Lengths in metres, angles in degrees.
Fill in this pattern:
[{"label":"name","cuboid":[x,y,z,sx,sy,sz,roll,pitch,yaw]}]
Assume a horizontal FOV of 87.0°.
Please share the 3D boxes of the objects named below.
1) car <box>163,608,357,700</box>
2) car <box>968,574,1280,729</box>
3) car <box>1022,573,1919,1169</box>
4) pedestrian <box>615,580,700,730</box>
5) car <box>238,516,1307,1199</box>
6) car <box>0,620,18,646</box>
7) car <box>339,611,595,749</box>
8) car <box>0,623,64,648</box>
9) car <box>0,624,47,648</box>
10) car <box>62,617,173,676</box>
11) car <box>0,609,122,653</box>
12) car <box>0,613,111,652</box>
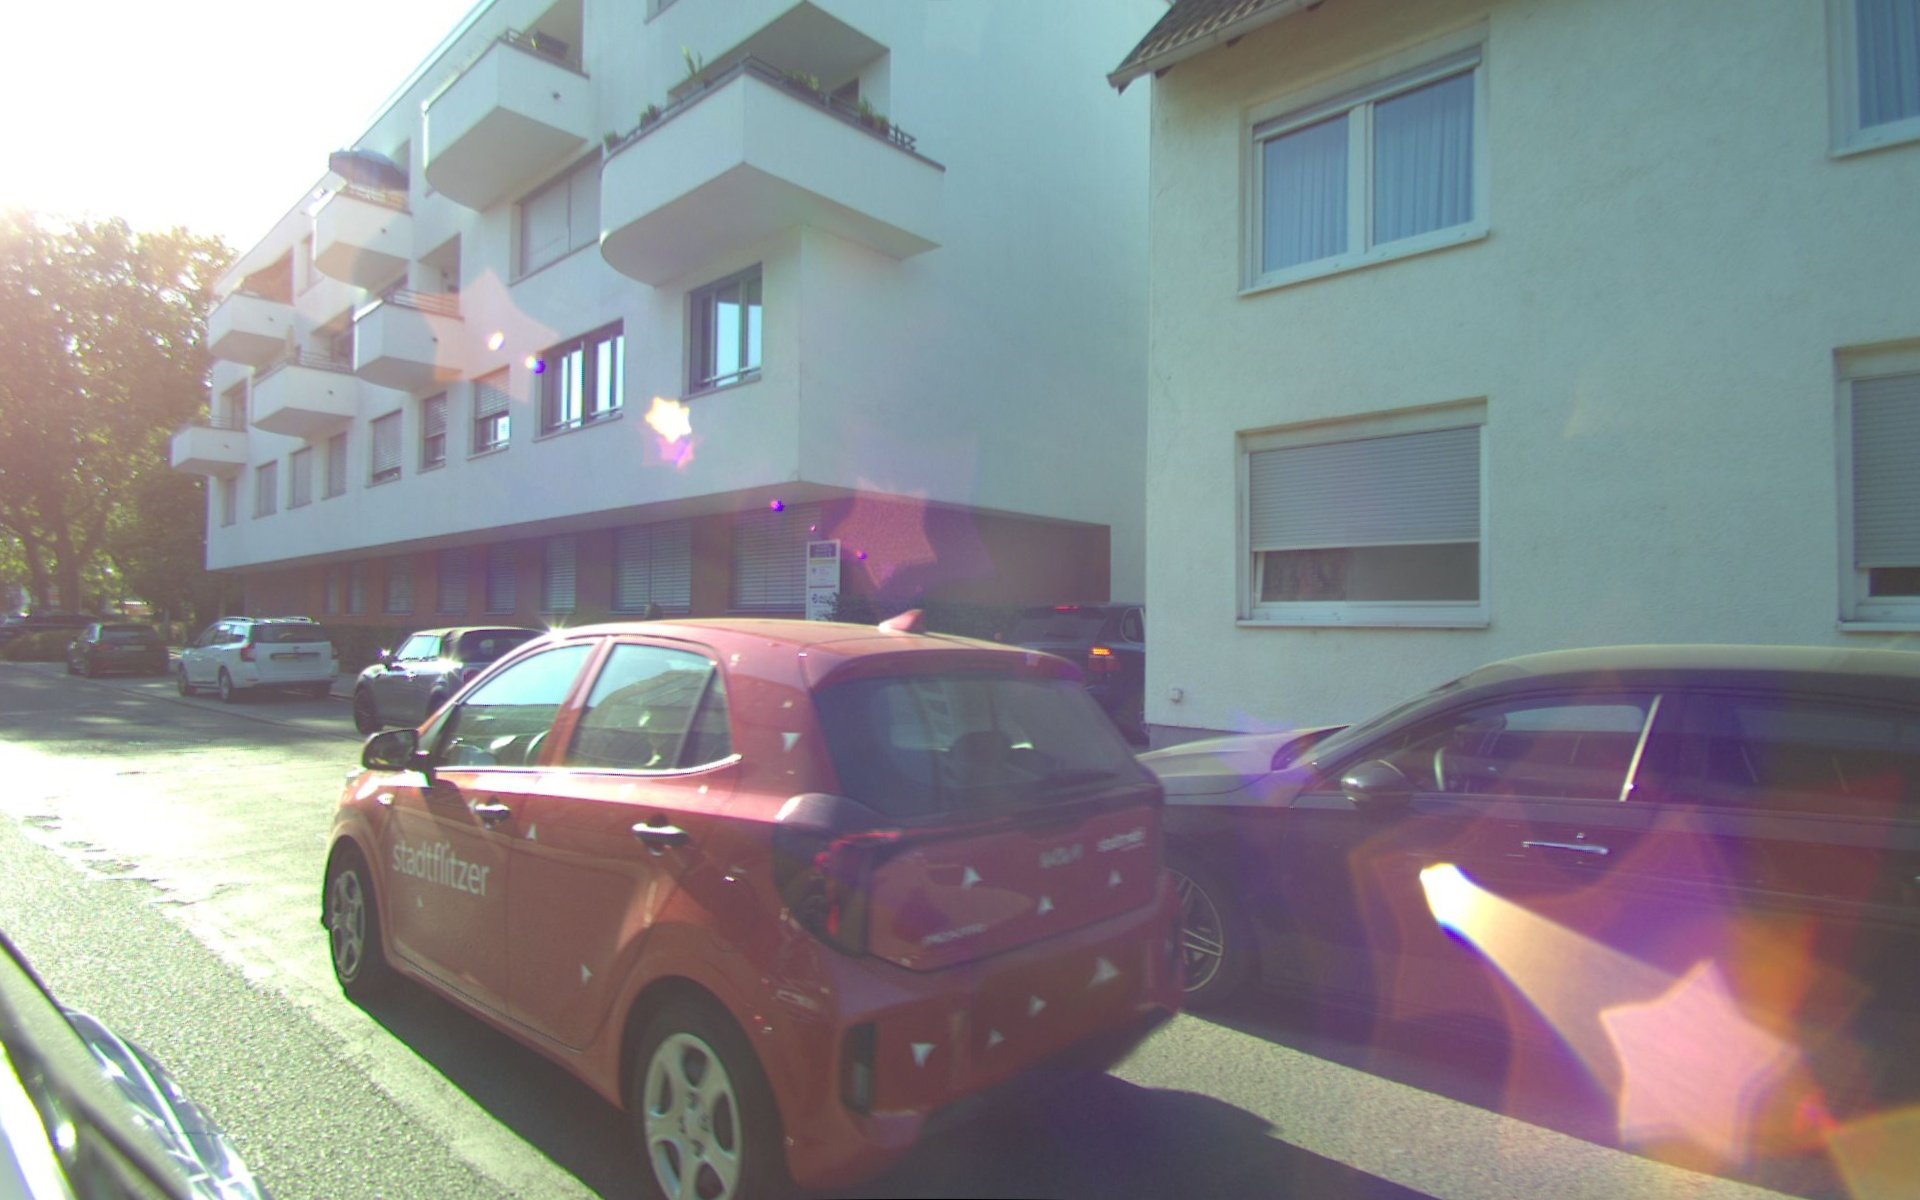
[{"label":"car","cuboid":[-13.665,0.959,19.663,4.615,1.599,1.840,-1,-1,38]},{"label":"car","cuboid":[2.321,0.706,13.245,2.012,1.651,4.559,-2,-5,40]},{"label":"car","cuboid":[2.479,0.714,3.708,4.328,1.547,1.668,-1,-1,38]},{"label":"pedestrian","cuboid":[-3.947,0.681,13.162,0.849,1.832,1.136,-2,0,-25]},{"label":"car","cuboid":[-1.043,0.682,3.896,4.141,1.502,1.823,-1,-4,41]},{"label":"car","cuboid":[-69.358,2.325,71.374,1.700,1.901,3.982,0,-1,14]},{"label":"car","cuboid":[-6.558,0.923,13.296,3.855,1.547,1.650,-1,-1,41]},{"label":"car","cuboid":[-62.608,2.380,67.386,1.788,1.637,3.965,0,-2,26]},{"label":"car","cuboid":[-64.595,2.440,68.656,1.639,1.572,3.573,0,-2,22]},{"label":"car","cuboid":[-22.549,1.198,27.047,3.767,1.444,1.657,-1,-1,40]},{"label":"car","cuboid":[-36.249,1.235,40.524,1.683,1.675,3.943,0,-1,13]},{"label":"car","cuboid":[-44.351,1.549,49.281,1.890,1.788,4.245,0,-1,17]}]
